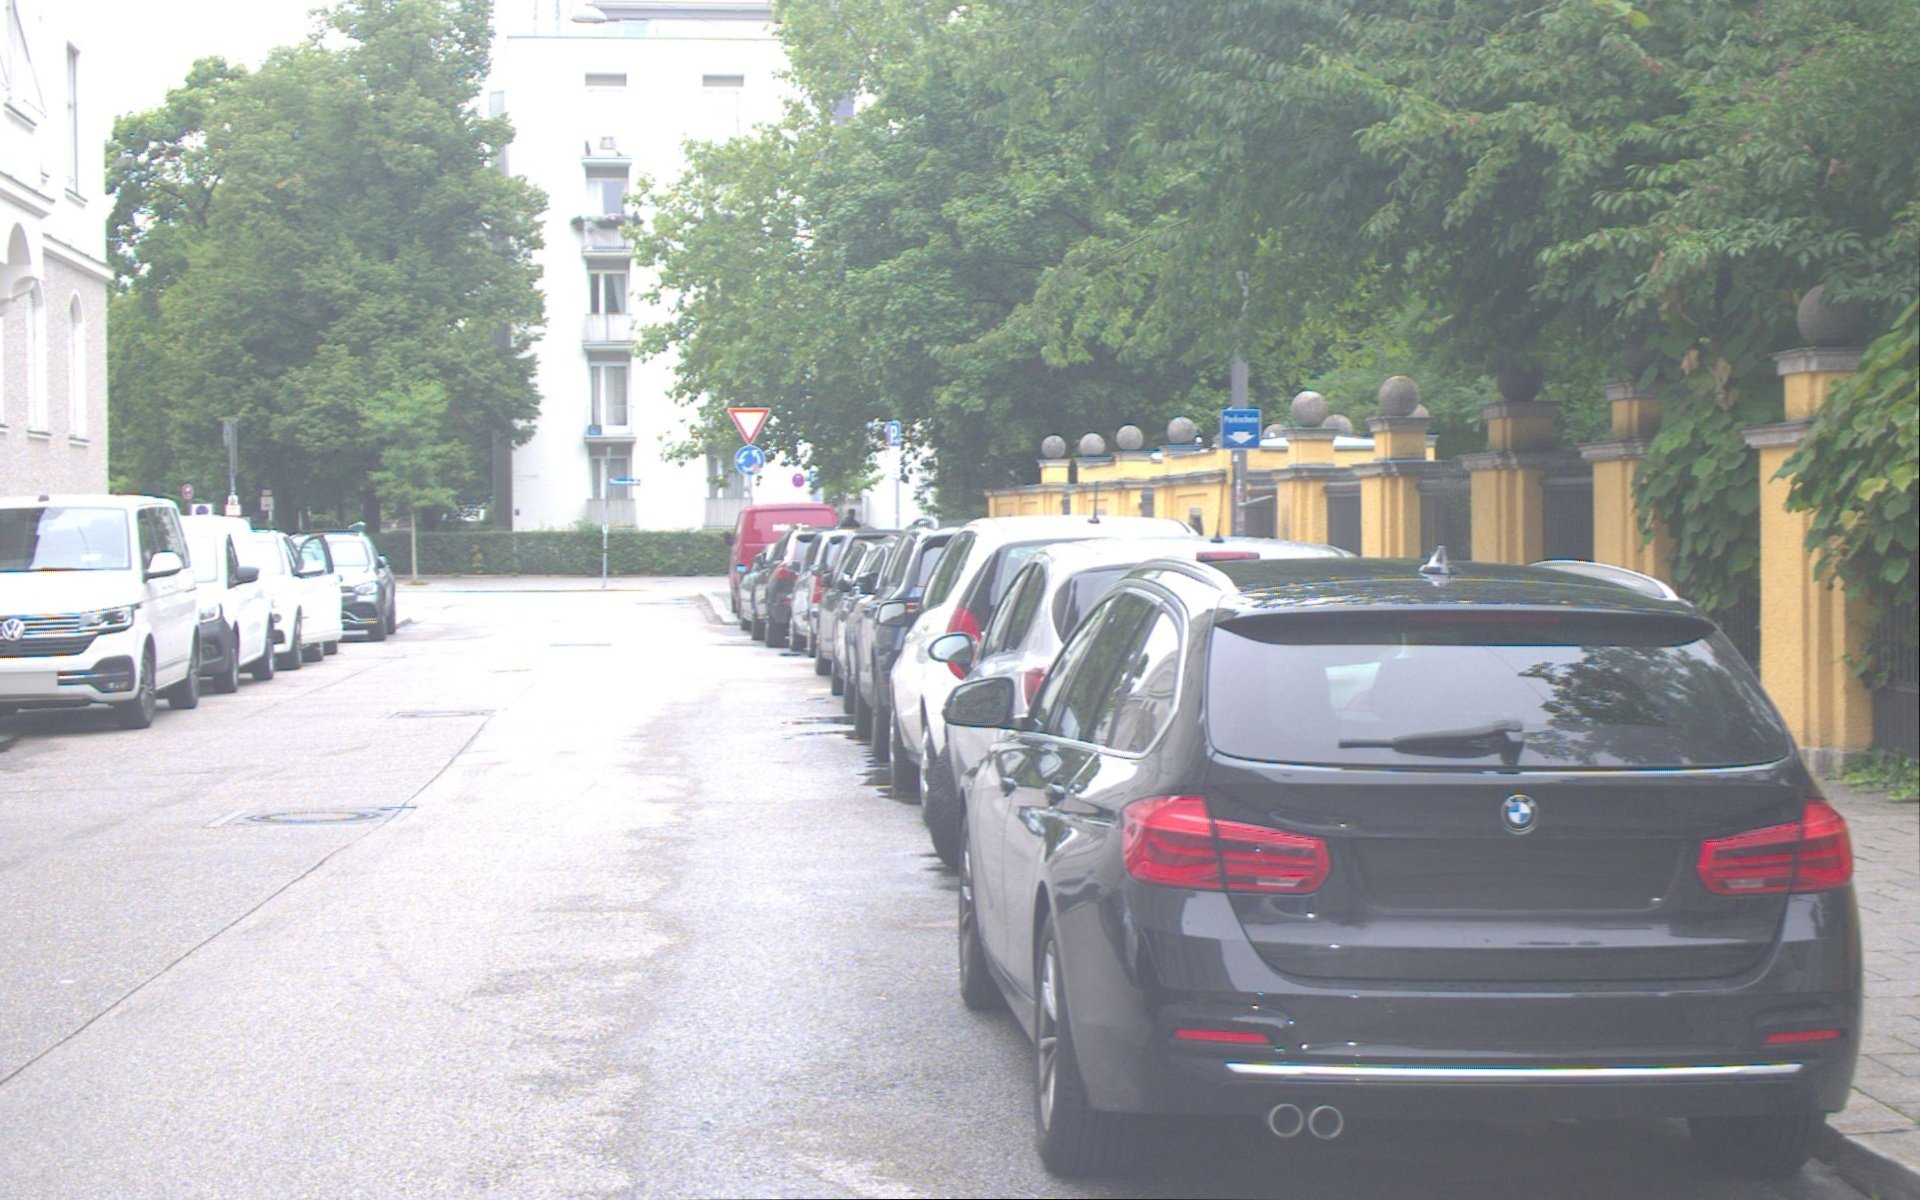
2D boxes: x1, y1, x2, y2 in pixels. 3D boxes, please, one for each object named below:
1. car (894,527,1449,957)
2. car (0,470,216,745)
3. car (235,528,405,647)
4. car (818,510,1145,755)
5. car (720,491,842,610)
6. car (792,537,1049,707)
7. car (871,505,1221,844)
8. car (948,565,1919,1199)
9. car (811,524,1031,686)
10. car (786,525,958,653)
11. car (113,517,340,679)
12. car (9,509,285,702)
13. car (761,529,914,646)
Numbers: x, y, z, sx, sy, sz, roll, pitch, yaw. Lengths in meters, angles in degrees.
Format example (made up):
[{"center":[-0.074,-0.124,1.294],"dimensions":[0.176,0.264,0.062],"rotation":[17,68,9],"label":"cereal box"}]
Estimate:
[{"center":[0.721,0.484,14.111],"dimensions":[1.652,1.513,3.796],"rotation":[1,1,-6],"label":"car"},{"center":[-7.731,0.017,29.501],"dimensions":[1.886,2.120,4.707],"rotation":[-3,2,-4],"label":"car"},{"center":[-9.833,-0.237,53.099],"dimensions":[2.015,1.628,4.415],"rotation":[-3,2,-4],"label":"car"},{"center":[0.061,0.185,24.004],"dimensions":[1.838,1.546,3.948],"rotation":[1,1,-6],"label":"car"},{"center":[-3.059,-0.886,59.329],"dimensions":[1.836,1.920,4.005],"rotation":[2,2,0],"label":"car"},{"center":[-0.409,0.154,29.550],"dimensions":[1.838,1.341,3.948],"rotation":[1,1,-6],"label":"car"},{"center":[0.381,0.346,18.831],"dimensions":[1.513,1.656,3.675],"rotation":[1,1,-5],"label":"car"},{"center":[0.974,0.634,9.082],"dimensions":[1.838,1.408,4.343],"rotation":[1,1,-2],"label":"car"},{"center":[-0.450,0.021,34.488],"dimensions":[1.838,1.513,3.948],"rotation":[1,1,-6],"label":"car"},{"center":[-1.157,-0.159,43.318],"dimensions":[1.838,1.513,3.948],"rotation":[1,1,-6],"label":"car"},{"center":[-8.765,-0.076,41.407],"dimensions":[2.015,1.720,4.275],"rotation":[-3,2,-4],"label":"car"},{"center":[-8.335,-0.006,35.614],"dimensions":[2.015,1.765,4.415],"rotation":[-3,2,-4],"label":"car"},{"center":[-1.733,-0.193,47.480],"dimensions":[1.838,1.513,3.948],"rotation":[1,1,-6],"label":"car"}]
